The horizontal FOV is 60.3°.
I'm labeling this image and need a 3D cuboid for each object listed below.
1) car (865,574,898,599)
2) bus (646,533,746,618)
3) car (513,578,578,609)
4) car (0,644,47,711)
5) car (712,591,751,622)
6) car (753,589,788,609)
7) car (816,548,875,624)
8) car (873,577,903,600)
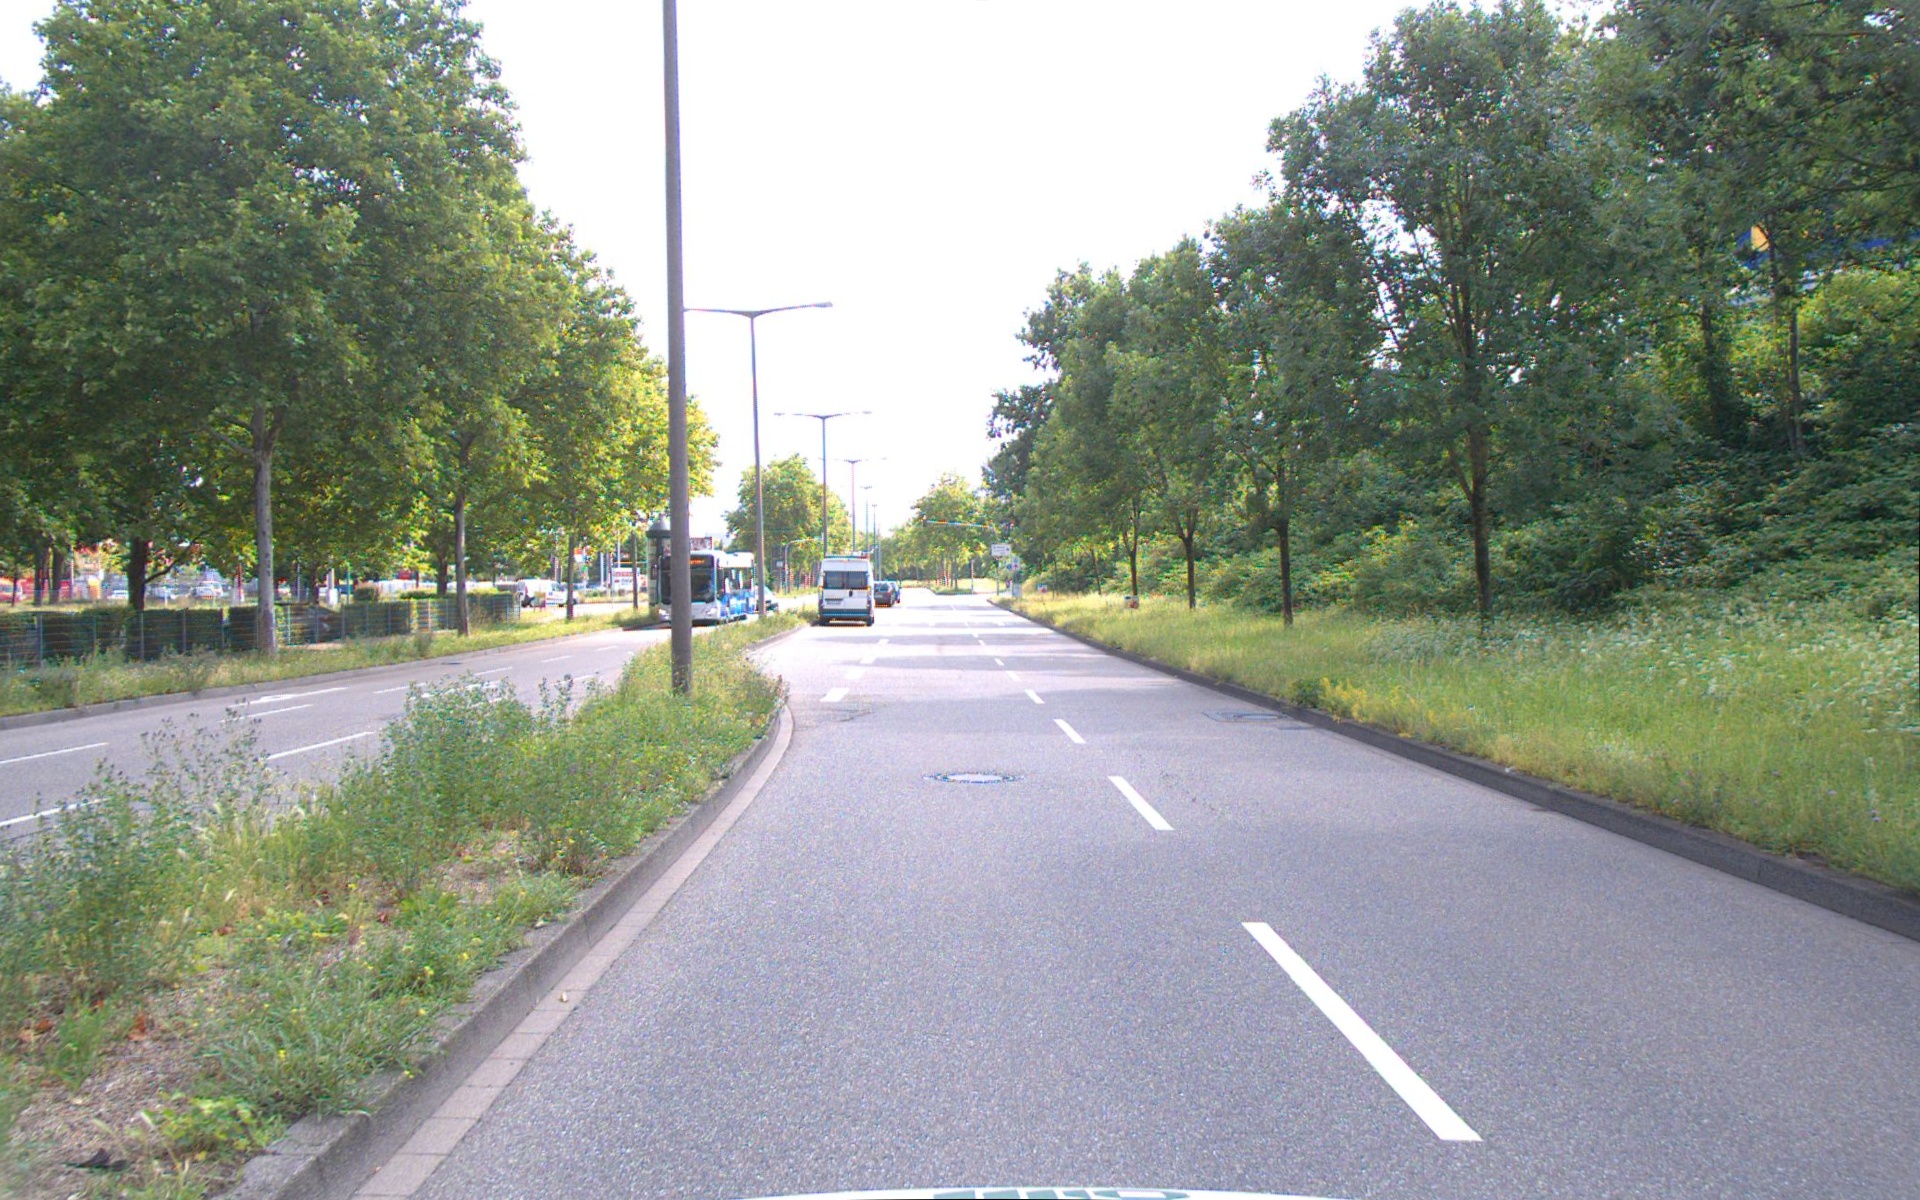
[{"bbox_3d":[-4.787,-0.800,100.581,1.772,1.496,3.851,-1,0,-6],"label":"car"},{"bbox_3d":[-11.462,-0.965,73.076,3.048,3.332,12.328,-2,0,-3],"label":"bus"},{"bbox_3d":[-28.667,-0.415,114.378,3.963,1.870,1.837,3,-4,-41],"label":"car"},{"bbox_3d":[-24.251,1.900,40.267,1.853,1.624,3.998,0,-3,-1],"label":"car"},{"bbox_3d":[-13.502,0.382,97.891,1.846,1.611,3.879,0,-3,-1],"label":"car"},{"bbox_3d":[-10.292,-0.040,89.945,1.527,1.059,3.413,-1,0,-1],"label":"car"},{"bbox_3d":[-4.360,-0.594,63.298,2.154,2.773,4.929,1,2,-4],"label":"car"},{"bbox_3d":[-4.878,-0.785,112.246,1.772,1.496,3.851,-1,0,-6],"label":"car"}]
